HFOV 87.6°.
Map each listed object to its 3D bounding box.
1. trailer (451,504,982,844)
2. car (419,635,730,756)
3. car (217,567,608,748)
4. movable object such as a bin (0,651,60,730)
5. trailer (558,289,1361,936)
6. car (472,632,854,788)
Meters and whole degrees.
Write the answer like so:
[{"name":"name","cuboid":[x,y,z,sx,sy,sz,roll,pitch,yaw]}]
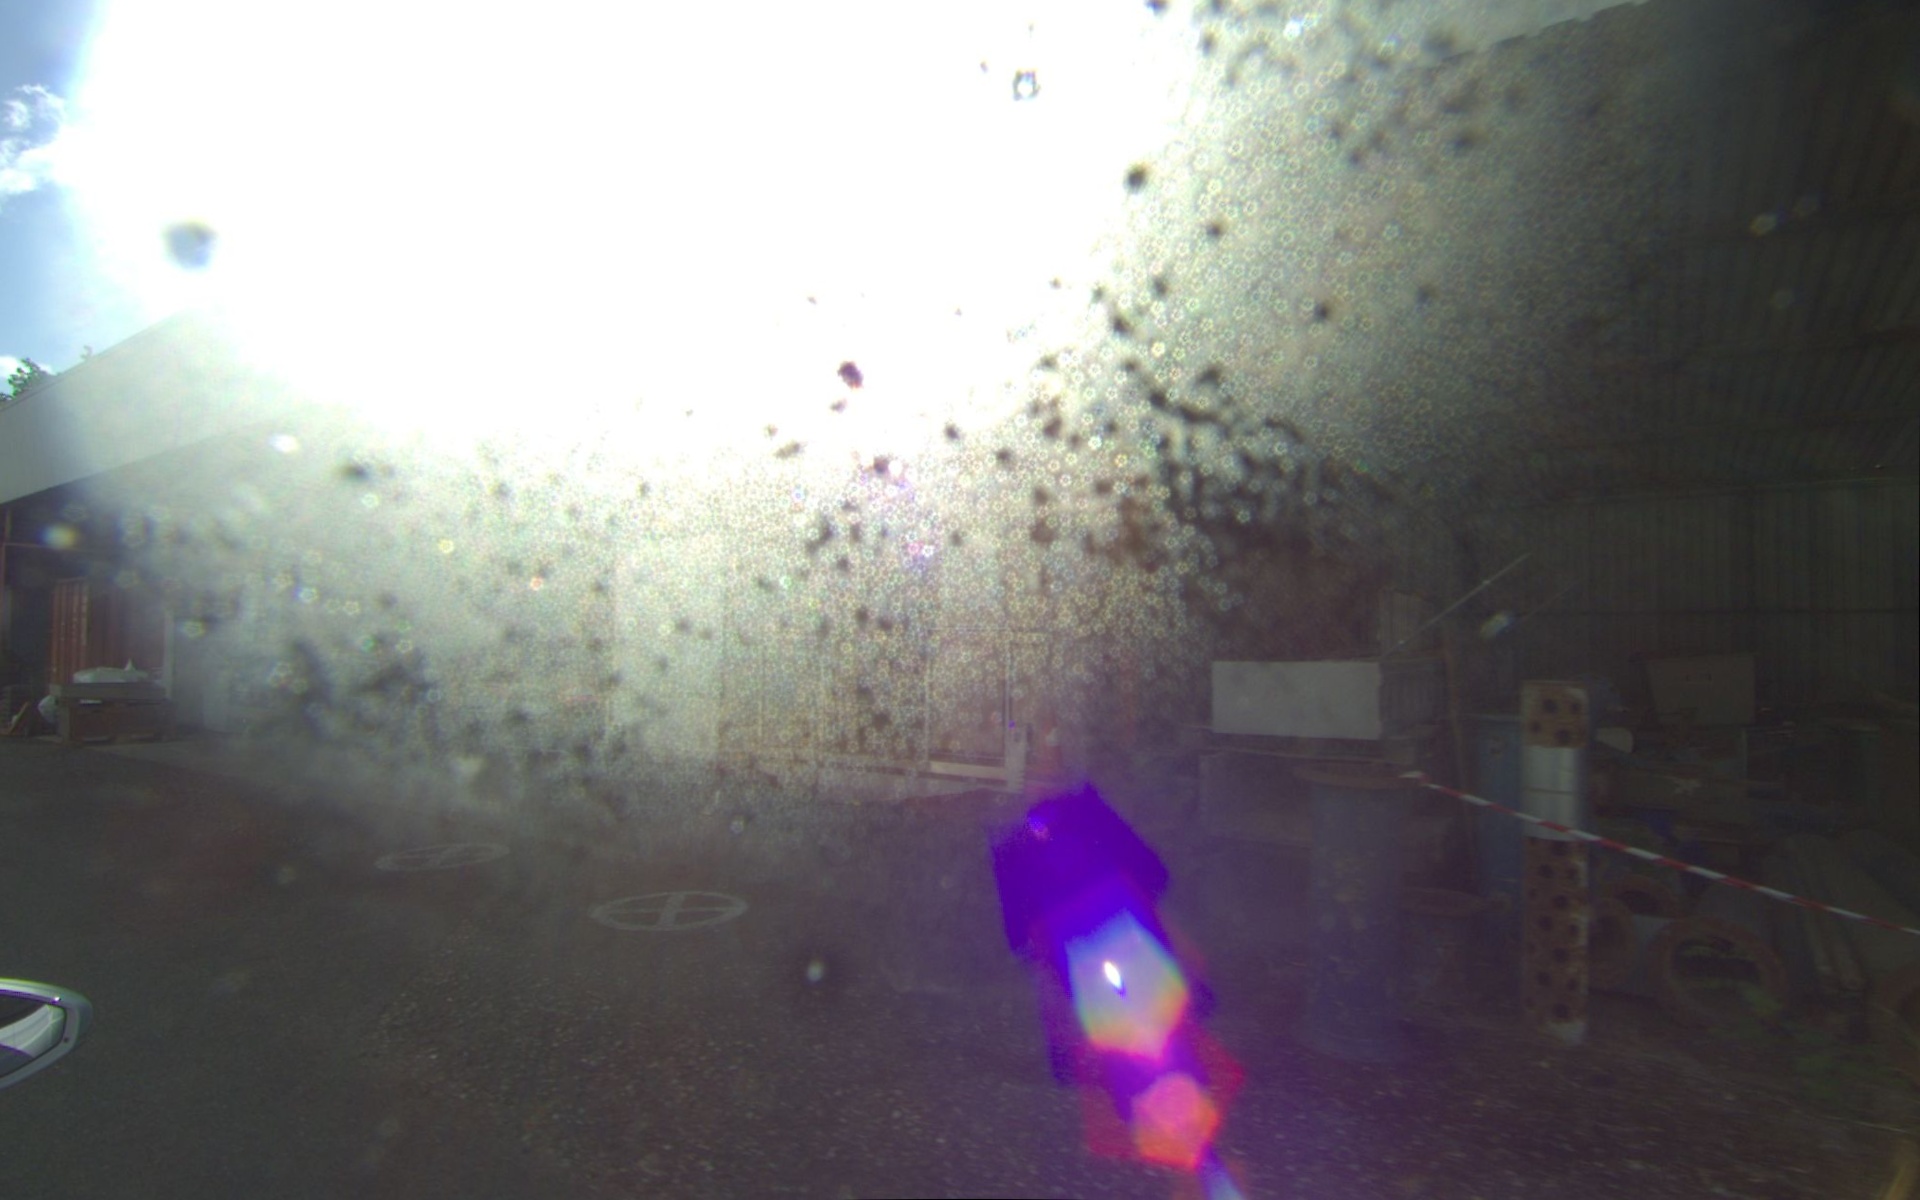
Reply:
[{"name":"trailer","cuboid":[-1.987,0.651,9.578,1.805,2.421,4.794,-1,-3,40]},{"name":"car","cuboid":[-5.411,1.294,14.577,1.762,1.491,3.984,-1,-3,30]},{"name":"car","cuboid":[-8.269,0.892,15.645,1.973,2.354,4.968,-1,-3,35]},{"name":"movable object such as a bin","cuboid":[-14.862,1.419,15.956,1.223,1.179,0.579,-1,-2,40]},{"name":"trailer","cuboid":[1.339,0.308,9.980,2.815,3.256,10.016,-1,-3,35]},{"name":"car","cuboid":[-3.328,1.195,12.094,1.752,1.514,4.322,-1,-3,33]}]
